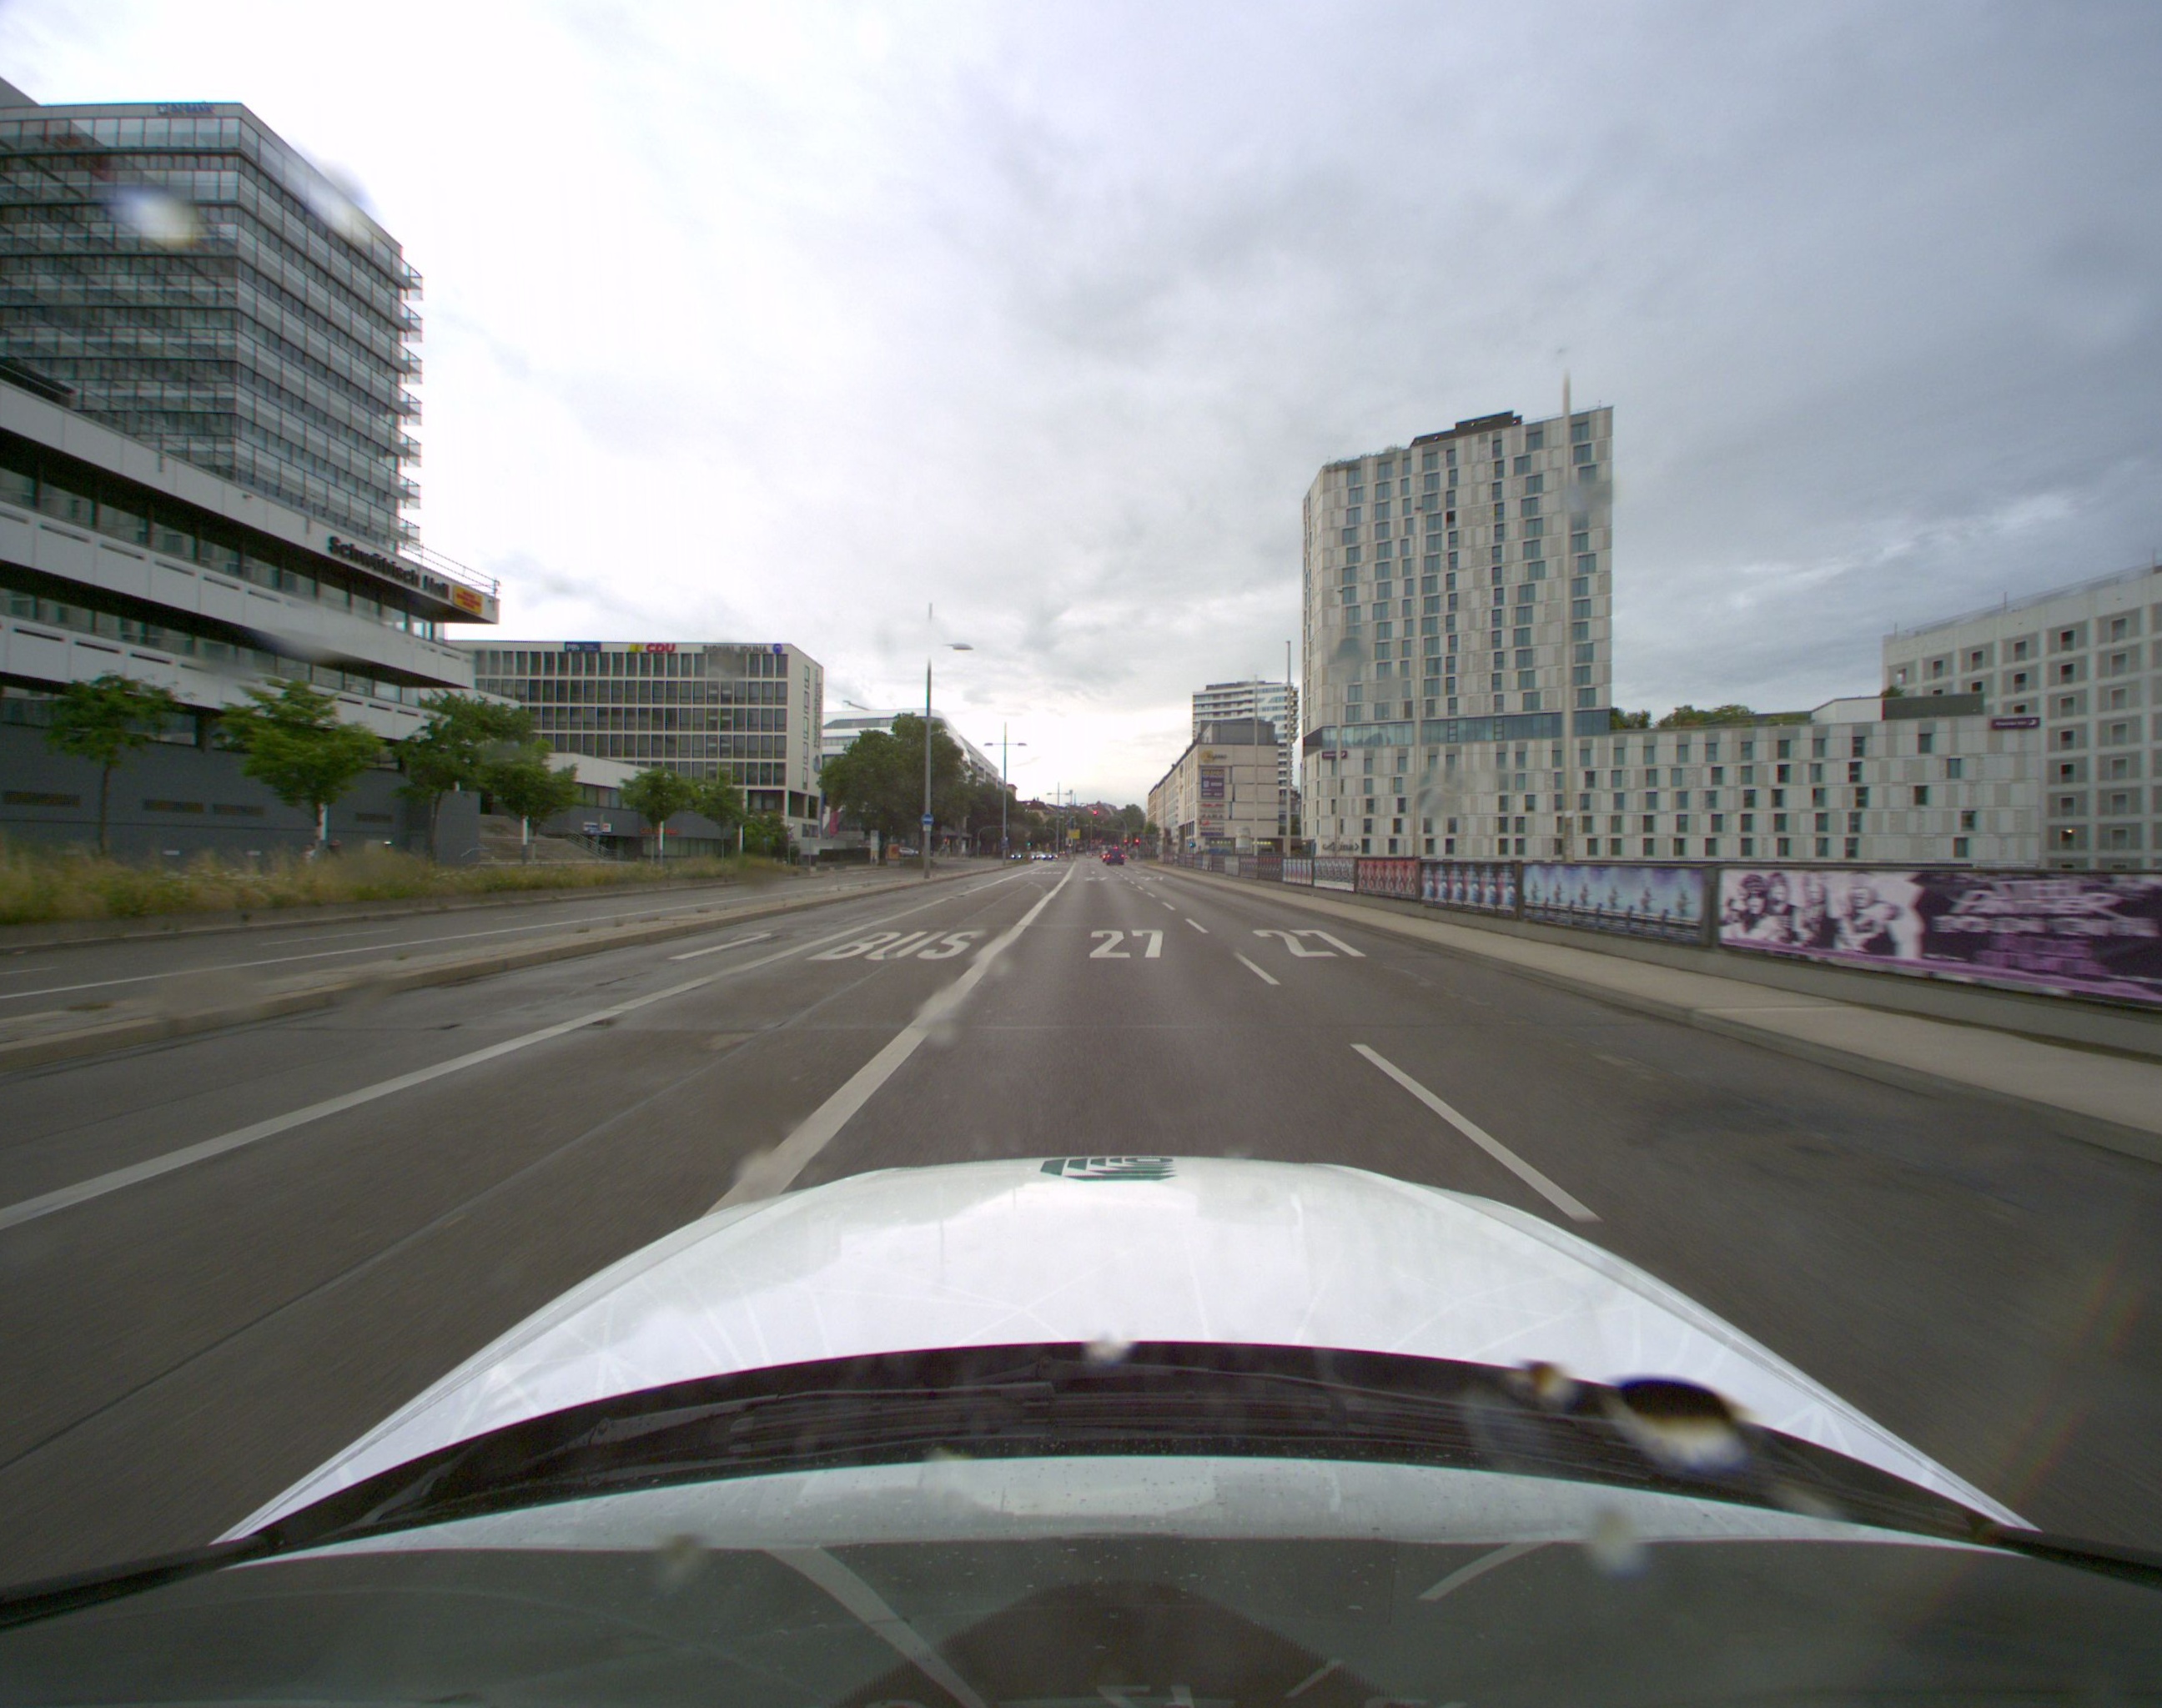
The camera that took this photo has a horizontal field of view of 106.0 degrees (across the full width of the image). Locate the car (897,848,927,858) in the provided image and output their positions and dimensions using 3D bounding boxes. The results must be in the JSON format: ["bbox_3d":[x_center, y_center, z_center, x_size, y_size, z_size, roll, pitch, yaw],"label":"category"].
[{"bbox_3d":[-28.585,-0.234,137.621,4.467,1.631,1.903,-1,-1,16],"label":"car"}]

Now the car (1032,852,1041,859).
[{"bbox_3d":[-9.454,0.313,172.606,1.737,1.559,3.539,0,-1,0],"label":"car"}]

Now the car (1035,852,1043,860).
[{"bbox_3d":[-9.594,0.487,186.710,1.737,1.748,3.539,0,-1,0],"label":"car"}]

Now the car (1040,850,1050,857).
[{"bbox_3d":[-7.230,-0.068,164.263,1.737,1.444,3.394,0,-1,0],"label":"car"}]

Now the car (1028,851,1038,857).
[{"bbox_3d":[-9.734,0.045,165.374,1.737,1.257,3.540,1,0,0],"label":"car"}]

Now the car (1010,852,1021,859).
[{"bbox_3d":[-13.300,0.324,164.942,1.737,1.328,4.225,0,-1,0],"label":"car"}]

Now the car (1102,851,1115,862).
[{"bbox_3d":[3.980,0.374,117.822,1.734,1.531,3.814,0,-1,0],"label":"car"}]

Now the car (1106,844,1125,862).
[{"bbox_3d":[3.910,-0.123,93.603,2.026,1.882,5.043,-3,1,1],"label":"car"}]

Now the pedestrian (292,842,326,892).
[{"bbox_3d":[-27.867,0.464,29.405,0.627,1.808,0.628,0,-1,1],"label":"pedestrian"}]

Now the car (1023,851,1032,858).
[{"bbox_3d":[-11.644,0.152,178.558,1.737,1.559,3.539,0,-1,0],"label":"car"}]

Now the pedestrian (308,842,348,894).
[{"bbox_3d":[-26.566,0.498,28.742,0.781,1.808,0.628,0,-1,1],"label":"pedestrian"}]
